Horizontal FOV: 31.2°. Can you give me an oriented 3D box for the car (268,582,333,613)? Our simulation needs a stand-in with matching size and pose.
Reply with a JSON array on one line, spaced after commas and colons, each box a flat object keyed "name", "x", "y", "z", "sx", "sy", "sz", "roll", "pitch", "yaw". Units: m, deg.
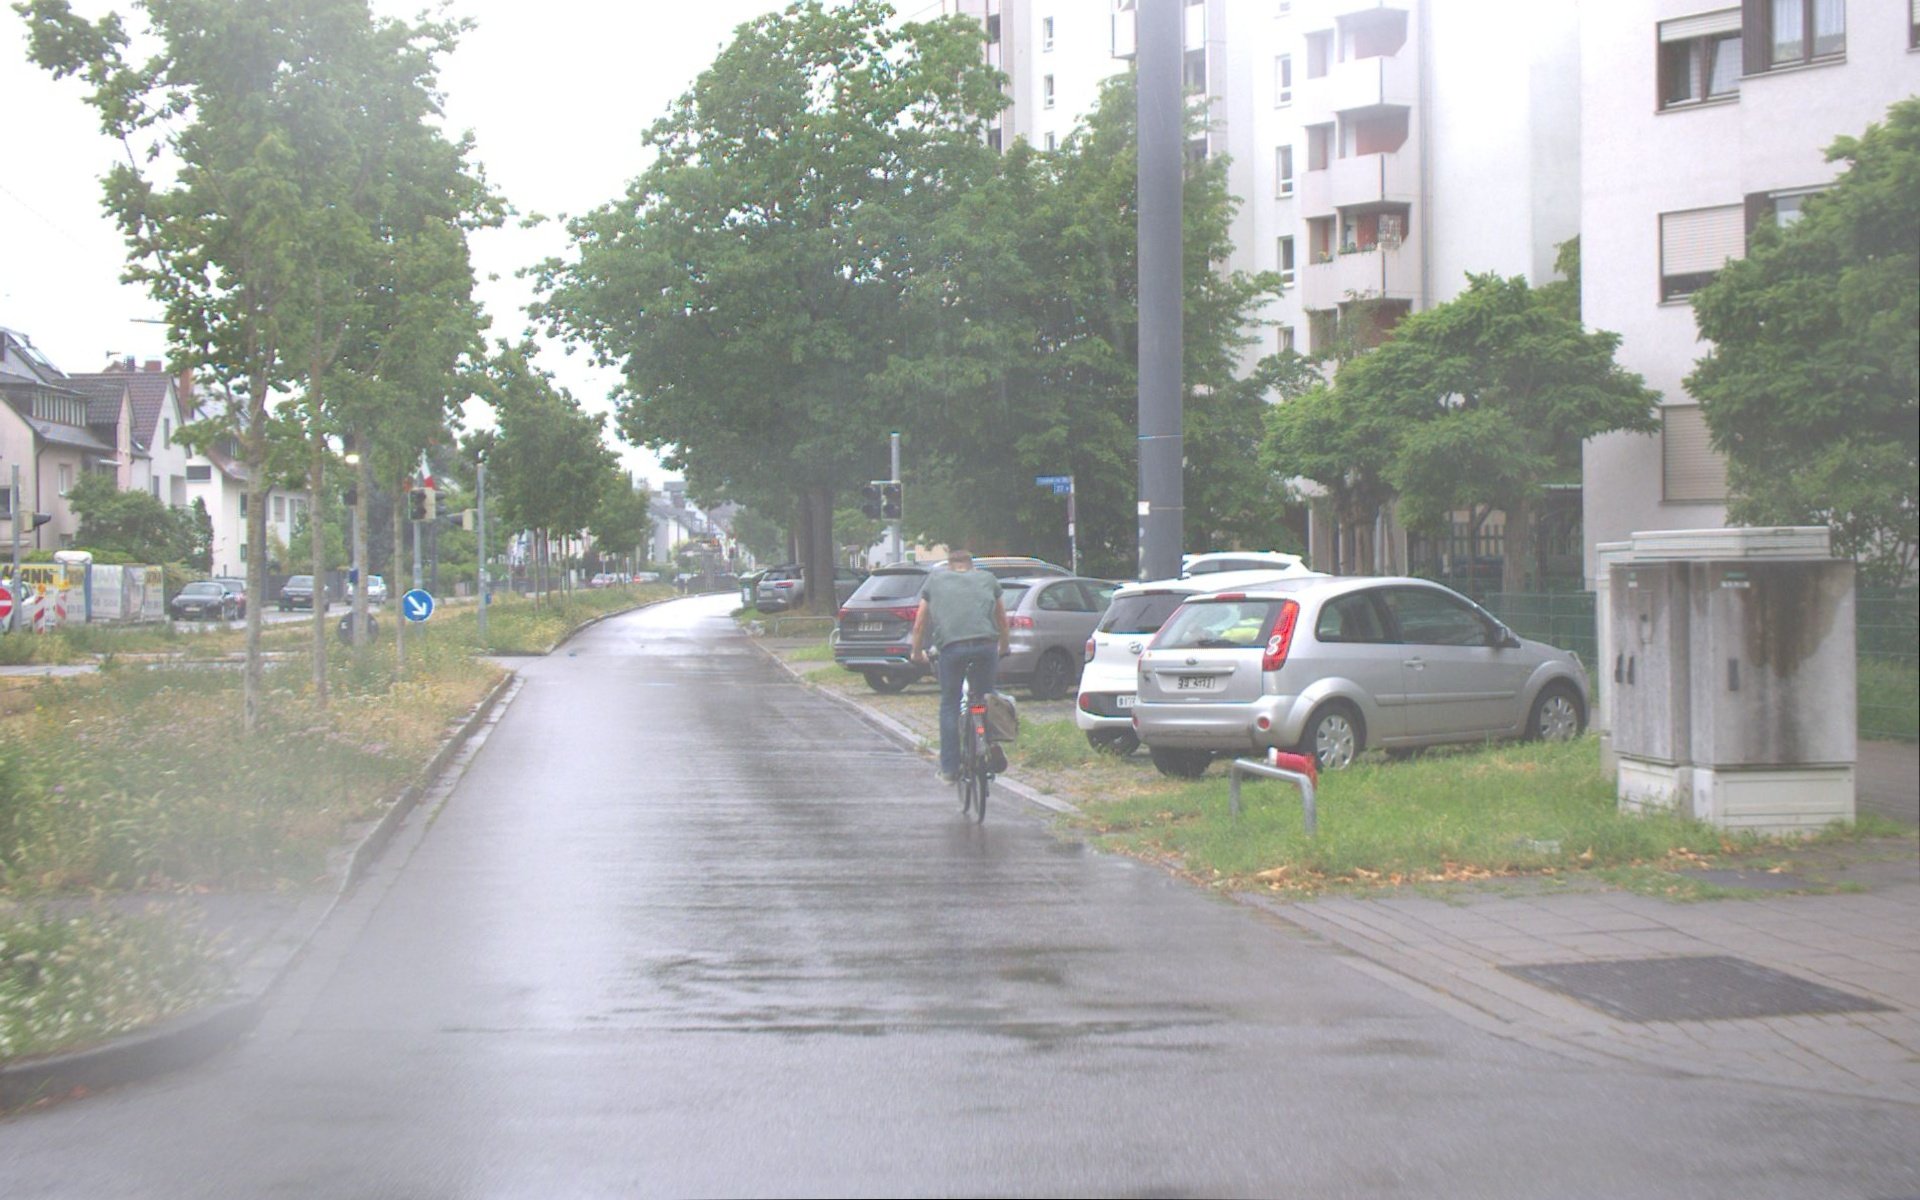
[{"name": "car", "x": -28.127, "y": -0.117, "z": 146.742, "sx": 1.896, "sy": 1.240, "sz": 4.687, "roll": 1, "pitch": 0, "yaw": -1}]

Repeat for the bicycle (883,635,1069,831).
[{"name": "bicycle", "x": 0.067, "y": 0.800, "z": 21.575, "sx": 0.809, "sy": 1.093, "sz": 2.518, "roll": -1, "pitch": 1, "yaw": -8}]

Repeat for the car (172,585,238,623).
[{"name": "car", "x": -26.528, "y": 0.131, "z": 120.879, "sx": 1.663, "sy": 1.240, "sz": 4.072, "roll": 1, "pitch": 0, "yaw": -4}]

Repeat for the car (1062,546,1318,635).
[{"name": "car", "x": 4.694, "y": -0.202, "z": 70.310, "sx": 4.801, "sy": 1.739, "sz": 2.001, "roll": -1, "pitch": 0, "yaw": -19}]

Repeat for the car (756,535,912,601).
[{"name": "car", "x": -3.733, "y": -0.941, "z": 101.966, "sx": 4.136, "sy": 1.713, "sz": 2.000, "roll": -4, "pitch": 2, "yaw": -36}]

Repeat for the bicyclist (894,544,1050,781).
[{"name": "bicyclist", "x": 0.065, "y": 0.376, "z": 21.504, "sx": 0.809, "sy": 1.428, "sz": 1.060, "roll": -1, "pitch": 0, "yaw": -8}]

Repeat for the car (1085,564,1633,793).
[{"name": "car", "x": 3.025, "y": 0.563, "z": 25.631, "sx": 3.989, "sy": 1.503, "sz": 1.783, "roll": -2, "pitch": -1, "yaw": -41}]

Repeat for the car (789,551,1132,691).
[{"name": "car", "x": 0.056, "y": 0.237, "z": 43.768, "sx": 1.856, "sy": 1.645, "sz": 4.339, "roll": 0, "pitch": 1, "yaw": 44}]

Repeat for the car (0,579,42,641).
[{"name": "car", "x": -25.756, "y": 0.237, "z": 91.318, "sx": 1.710, "sy": 1.537, "sz": 4.422, "roll": 2, "pitch": 0, "yaw": -3}]

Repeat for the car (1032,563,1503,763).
[{"name": "car", "x": 2.647, "y": 0.508, "z": 28.999, "sx": 3.989, "sy": 1.503, "sz": 1.704, "roll": -2, "pitch": -1, "yaw": -44}]

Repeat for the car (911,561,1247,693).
[{"name": "car", "x": 1.449, "y": 0.290, "z": 40.754, "sx": 1.733, "sy": 1.424, "sz": 3.990, "roll": 0, "pitch": 1, "yaw": 44}]
